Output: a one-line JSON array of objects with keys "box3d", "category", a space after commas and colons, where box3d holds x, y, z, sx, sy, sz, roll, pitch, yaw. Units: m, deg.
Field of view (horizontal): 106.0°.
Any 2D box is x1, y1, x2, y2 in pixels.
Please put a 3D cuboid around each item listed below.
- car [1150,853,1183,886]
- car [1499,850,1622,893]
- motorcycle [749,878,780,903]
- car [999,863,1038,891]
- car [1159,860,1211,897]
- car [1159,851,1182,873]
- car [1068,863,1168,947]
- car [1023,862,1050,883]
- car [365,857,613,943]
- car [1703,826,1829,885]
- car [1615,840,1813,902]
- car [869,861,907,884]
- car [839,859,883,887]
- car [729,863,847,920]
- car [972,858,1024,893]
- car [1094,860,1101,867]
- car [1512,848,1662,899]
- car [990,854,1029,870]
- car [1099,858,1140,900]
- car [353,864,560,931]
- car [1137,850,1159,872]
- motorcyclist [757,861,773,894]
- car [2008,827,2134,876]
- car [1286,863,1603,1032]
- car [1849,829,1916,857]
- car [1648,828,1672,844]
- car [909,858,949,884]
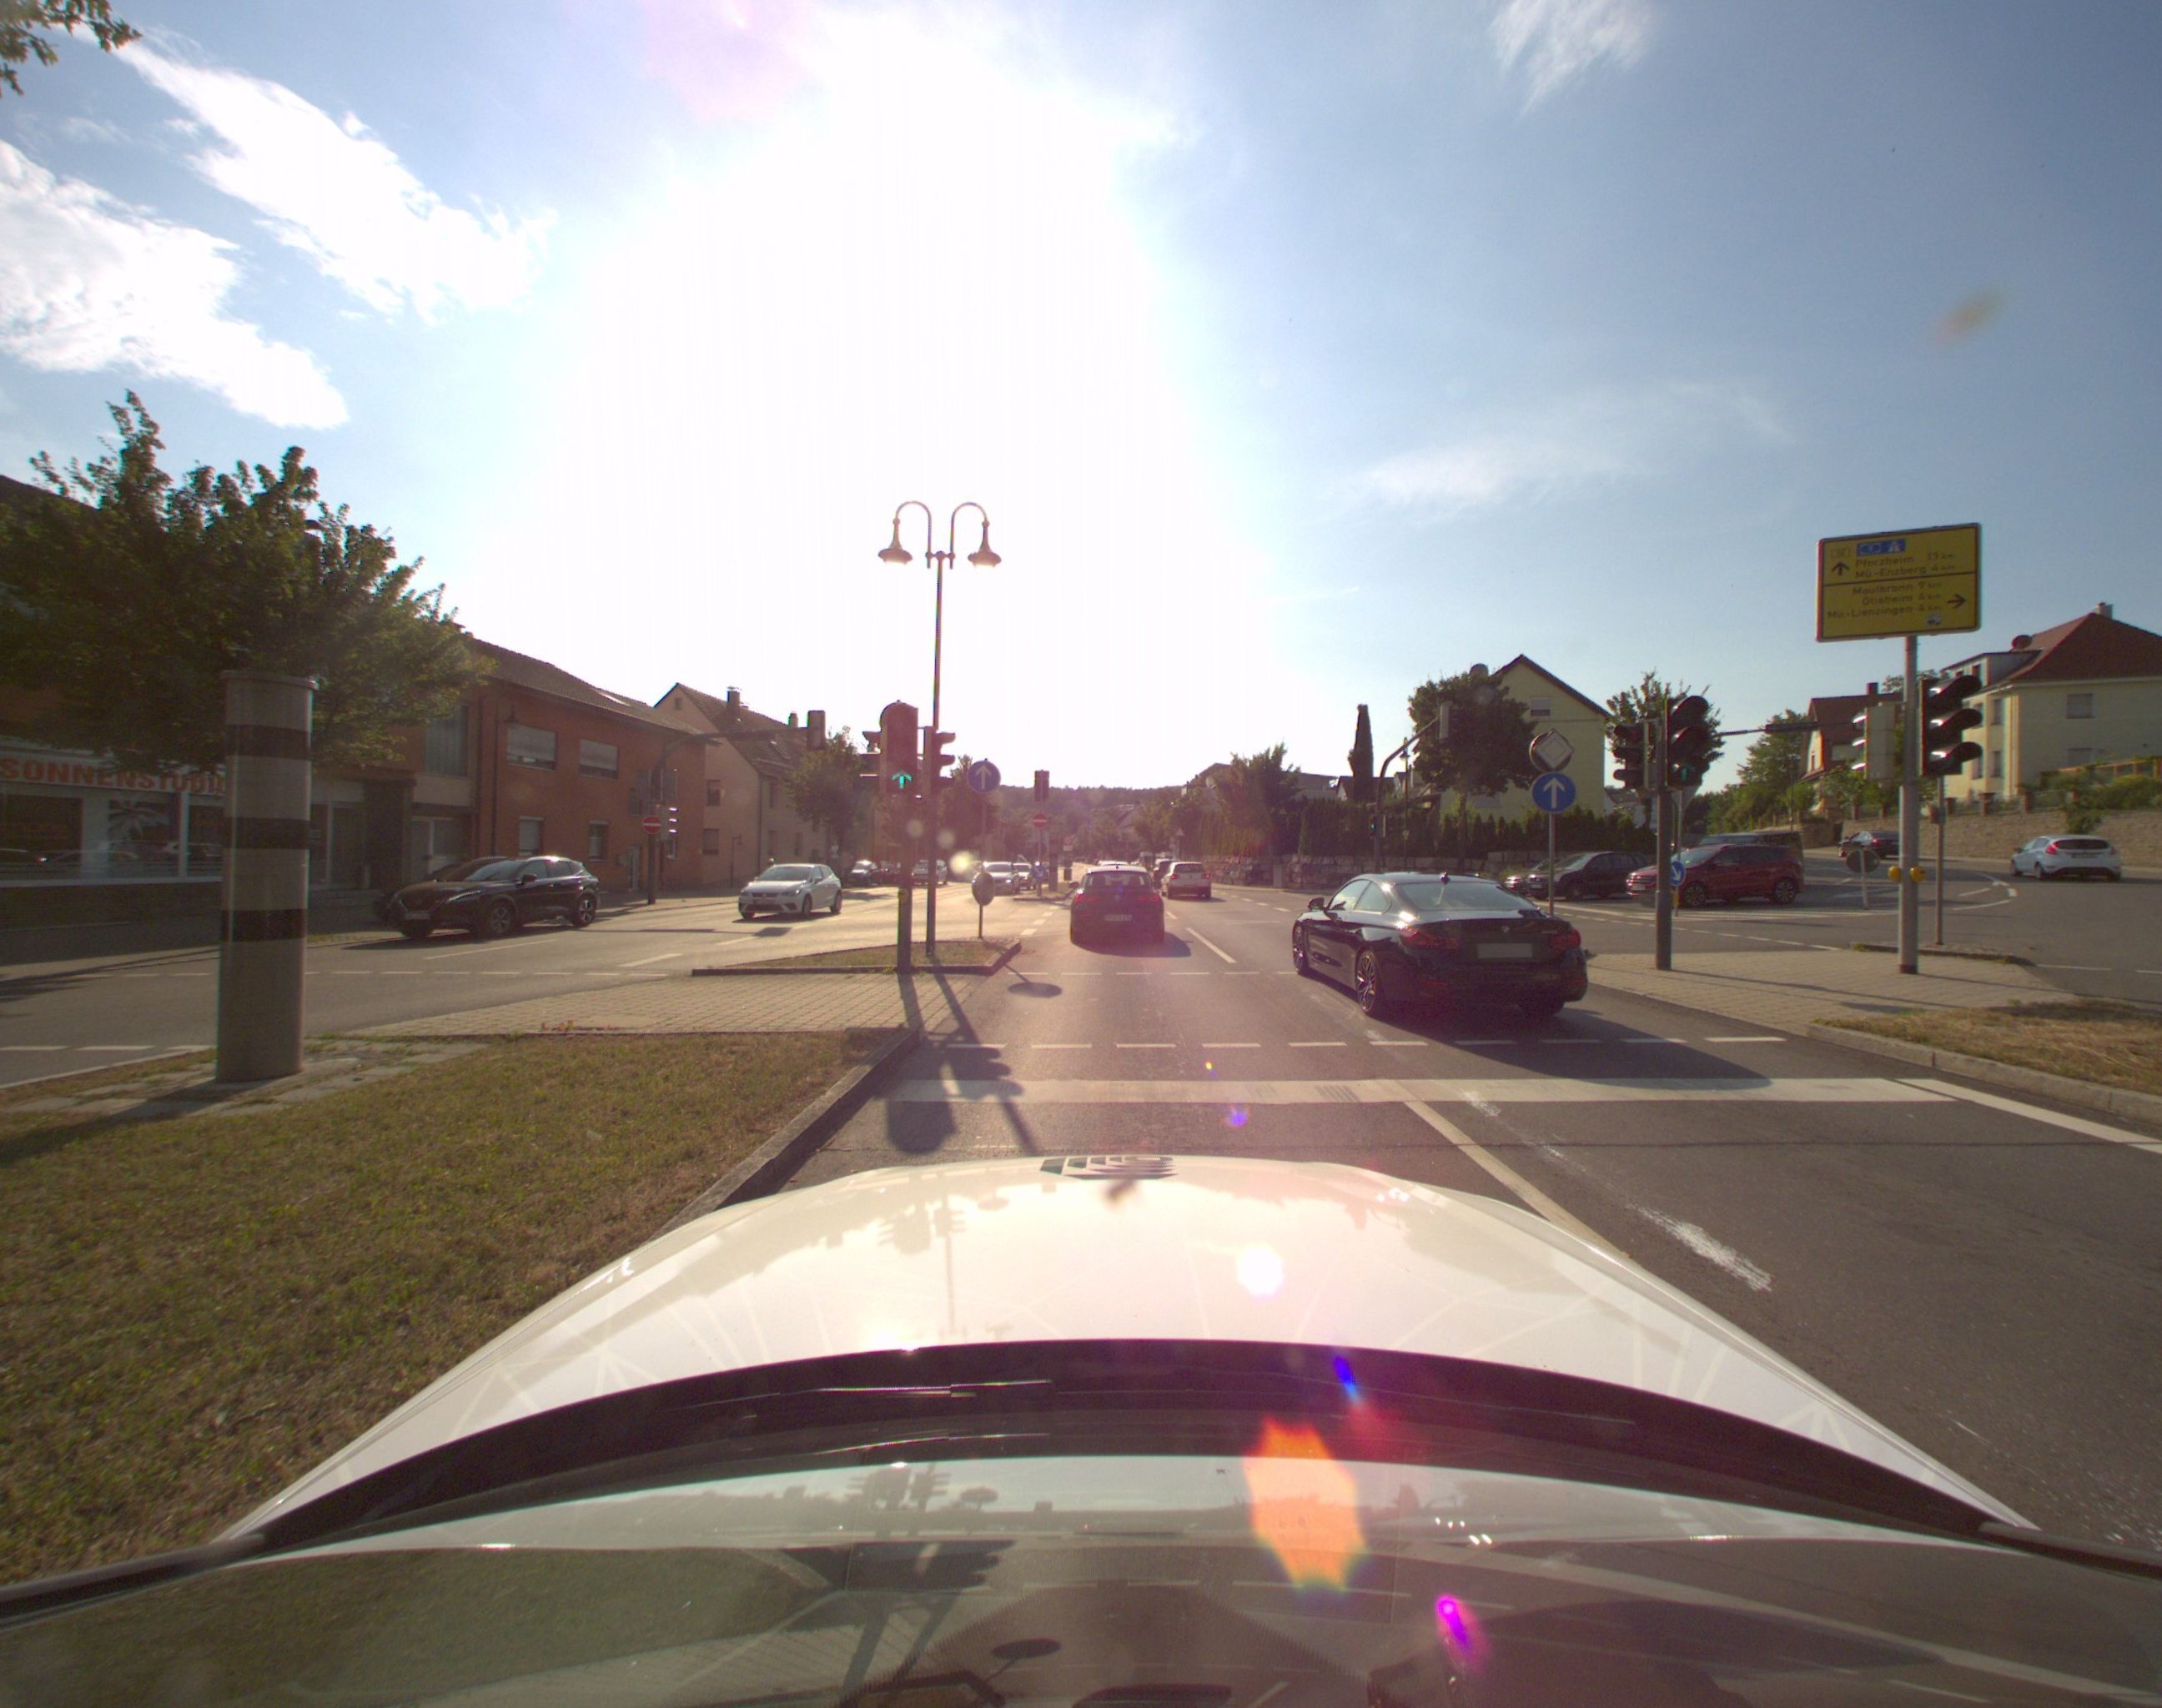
[{"box3d": [4.694, 0.825, 45.110, 1.596, 1.767, 3.413, 0, 0, 2], "category": "car"}, {"box3d": [17.610, 0.636, 29.994, 3.589, 1.450, 1.625, -2, -1, -3], "category": "car"}, {"box3d": [-11.818, 1.365, 30.490, 0.410, 0.860, 1.764, 0, 0, 2], "category": "motorcycle"}, {"box3d": [-3.309, 1.215, 43.513, 1.582, 1.427, 3.582, 0, -1, 4], "category": "car"}, {"box3d": [4.172, 0.962, 33.104, 1.747, 1.414, 3.422, 0, 0, 1], "category": "car"}, {"box3d": [11.518, 1.027, 105.083, 2.106, 2.722, 6.438, 0, 0, -2], "category": "car"}, {"box3d": [0.696, 0.924, 16.258, 1.765, 1.456, 3.516, -1, 0, 1], "category": "car"}, {"box3d": [-3.137, 1.310, 58.179, 1.526, 1.462, 3.508, 0, 0, 3], "category": "car"}, {"box3d": [-12.357, 0.867, 17.458, 1.847, 1.595, 4.464, 0, 0, 4], "category": "car"}, {"box3d": [24.259, 0.060, 28.807, 5.197, 1.932, 1.980, 0, 0, -33], "category": "car"}, {"box3d": [17.503, 0.443, 22.637, 4.231, 1.626, 1.859, 0, 0, -5], "category": "car"}, {"box3d": [-12.978, 1.223, 55.011, 1.613, 1.510, 4.132, 0, 0, 0], "category": "car"}, {"box3d": [-13.201, 1.113, 49.125, 1.507, 1.510, 3.886, 2, 0, 1], "category": "car"}, {"box3d": [-7.993, 0.962, 22.631, 1.751, 1.411, 4.001, 0, 0, 1], "category": "car"}, {"box3d": [-3.788, 0.939, 37.763, 1.828, 1.488, 4.567, 0, 0, 1], "category": "car"}, {"box3d": [4.062, 2.324, 200.395, 1.592, 1.485, 3.473, 1, 0, -1], "category": "car"}, {"box3d": [15.988, 0.594, 25.835, 3.775, 1.542, 1.598, -1, 0, -1], "category": "car"}, {"box3d": [-11.865, 1.348, 134.928, 6.139, 2.445, 2.249, 1, 0, 0], "category": "car"}, {"box3d": [1.534, 0.984, 33.302, 1.586, 1.600, 3.894, 0, 0, 1], "category": "car"}, {"box3d": [-14.790, 0.968, 19.613, 1.788, 1.414, 3.944, 0, 0, 3], "category": "car"}, {"box3d": [8.611, 0.841, 104.712, 2.143, 2.680, 6.599, 0, 0, -1], "category": "car"}, {"box3d": [-11.823, 0.881, 30.471, 0.402, 1.229, 0.462, 0, 0, 1], "category": "motorcyclist"}, {"box3d": [32.481, -0.069, 26.858, 1.844, 1.494, 4.025, 0, 0, 39], "category": "car"}, {"box3d": [3.619, 0.819, 9.045, 1.693, 1.369, 4.263, -1, 0, 1], "category": "car"}, {"box3d": [40.706, -0.535, 41.449, 1.794, 1.344, 4.025, 0, 0, 35], "category": "car"}, {"box3d": [55.097, -1.694, 77.575, 1.794, 1.344, 4.025, 0, 0, 35], "category": "car"}, {"box3d": [-10.083, 1.107, 54.353, 1.679, 1.612, 4.414, 0, 0, 1], "category": "car"}]
